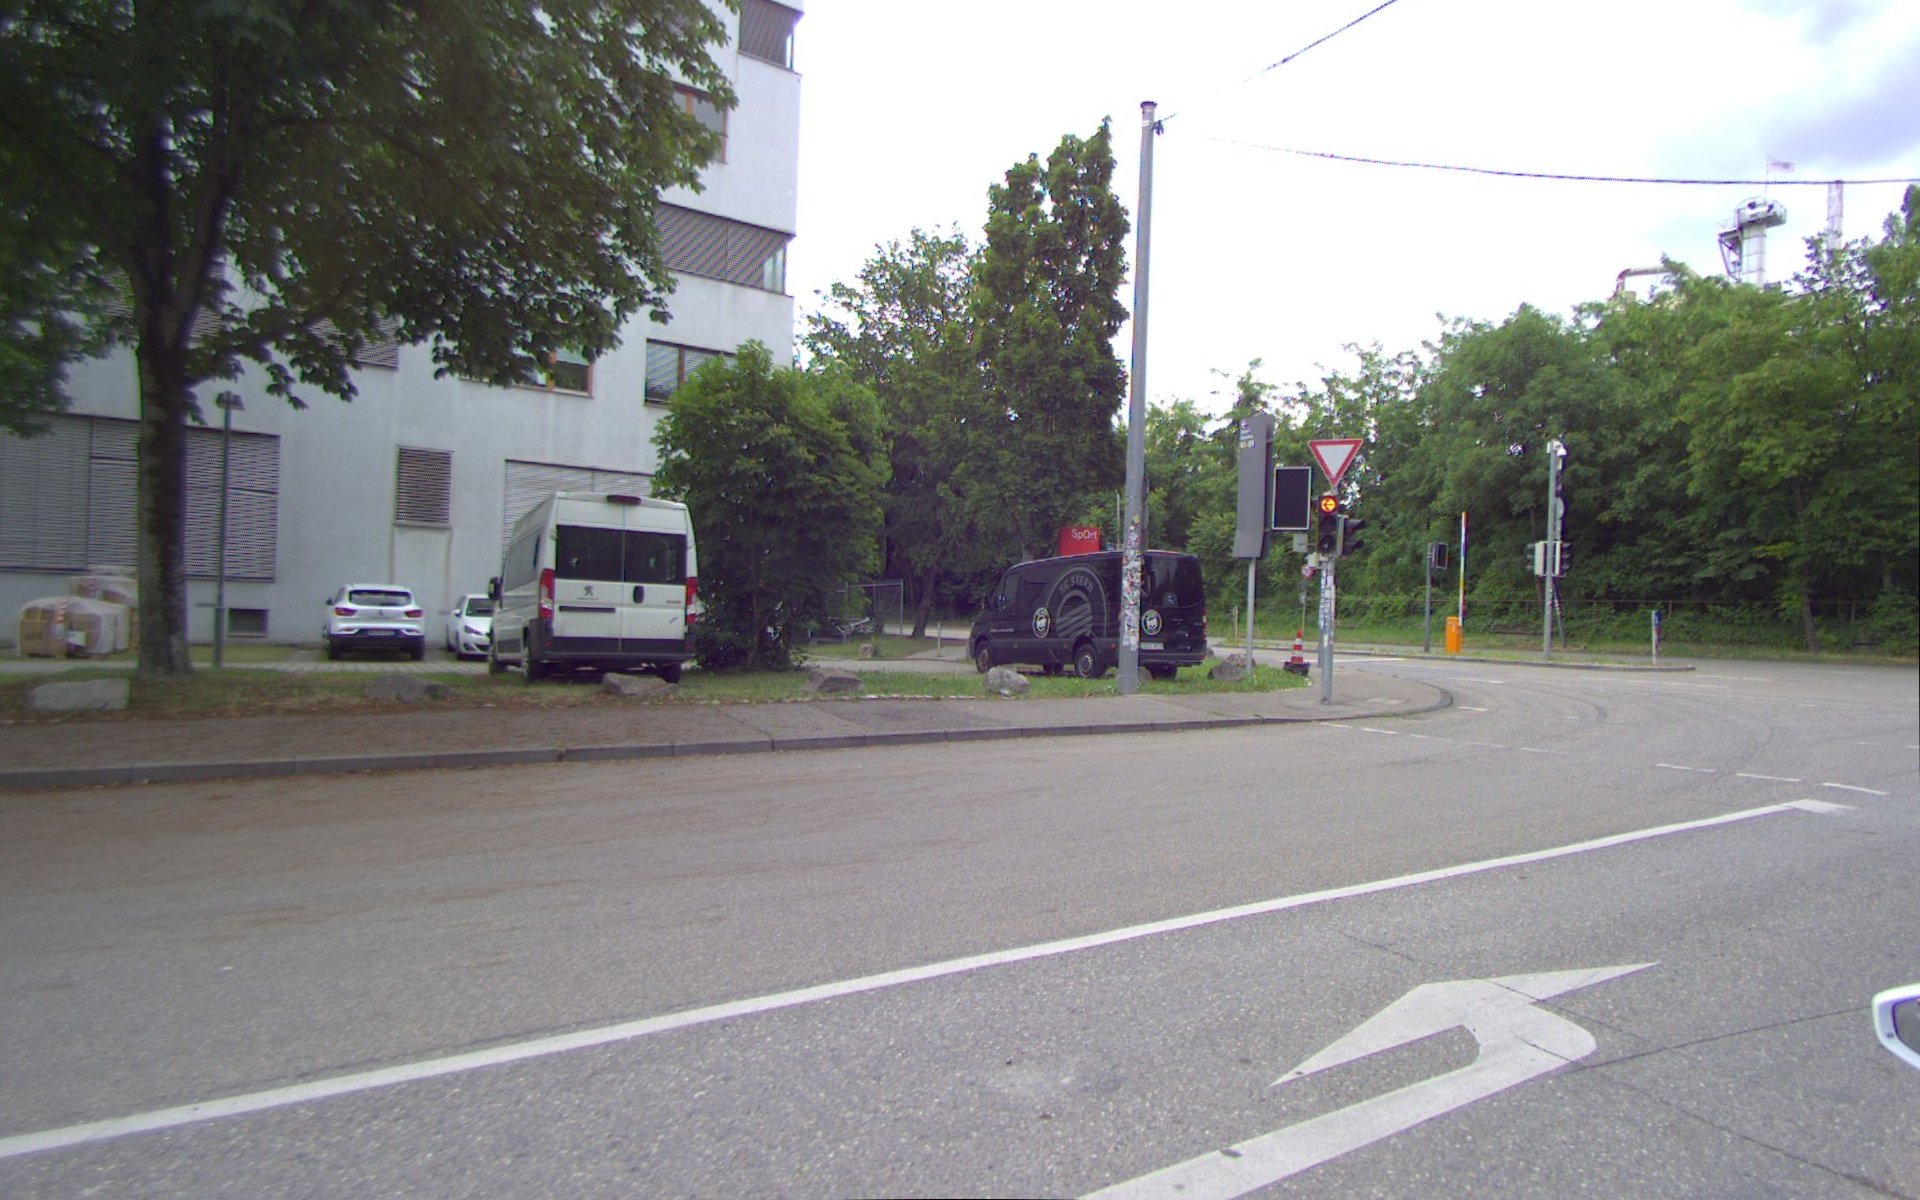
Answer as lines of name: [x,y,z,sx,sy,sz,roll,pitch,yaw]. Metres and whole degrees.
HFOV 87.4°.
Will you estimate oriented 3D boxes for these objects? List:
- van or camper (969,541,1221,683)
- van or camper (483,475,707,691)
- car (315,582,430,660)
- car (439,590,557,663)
van or camper: [2.414,0.323,19.740,2.037,2.343,5.513,4,-4,-28]
van or camper: [-5.588,-0.211,14.902,2.039,2.604,4.943,4,-1,-32]
car: [-13.180,0.429,22.422,1.881,1.475,3.972,4,-1,-34]
car: [-11.166,0.599,24.112,1.881,1.475,3.972,4,-1,-34]
